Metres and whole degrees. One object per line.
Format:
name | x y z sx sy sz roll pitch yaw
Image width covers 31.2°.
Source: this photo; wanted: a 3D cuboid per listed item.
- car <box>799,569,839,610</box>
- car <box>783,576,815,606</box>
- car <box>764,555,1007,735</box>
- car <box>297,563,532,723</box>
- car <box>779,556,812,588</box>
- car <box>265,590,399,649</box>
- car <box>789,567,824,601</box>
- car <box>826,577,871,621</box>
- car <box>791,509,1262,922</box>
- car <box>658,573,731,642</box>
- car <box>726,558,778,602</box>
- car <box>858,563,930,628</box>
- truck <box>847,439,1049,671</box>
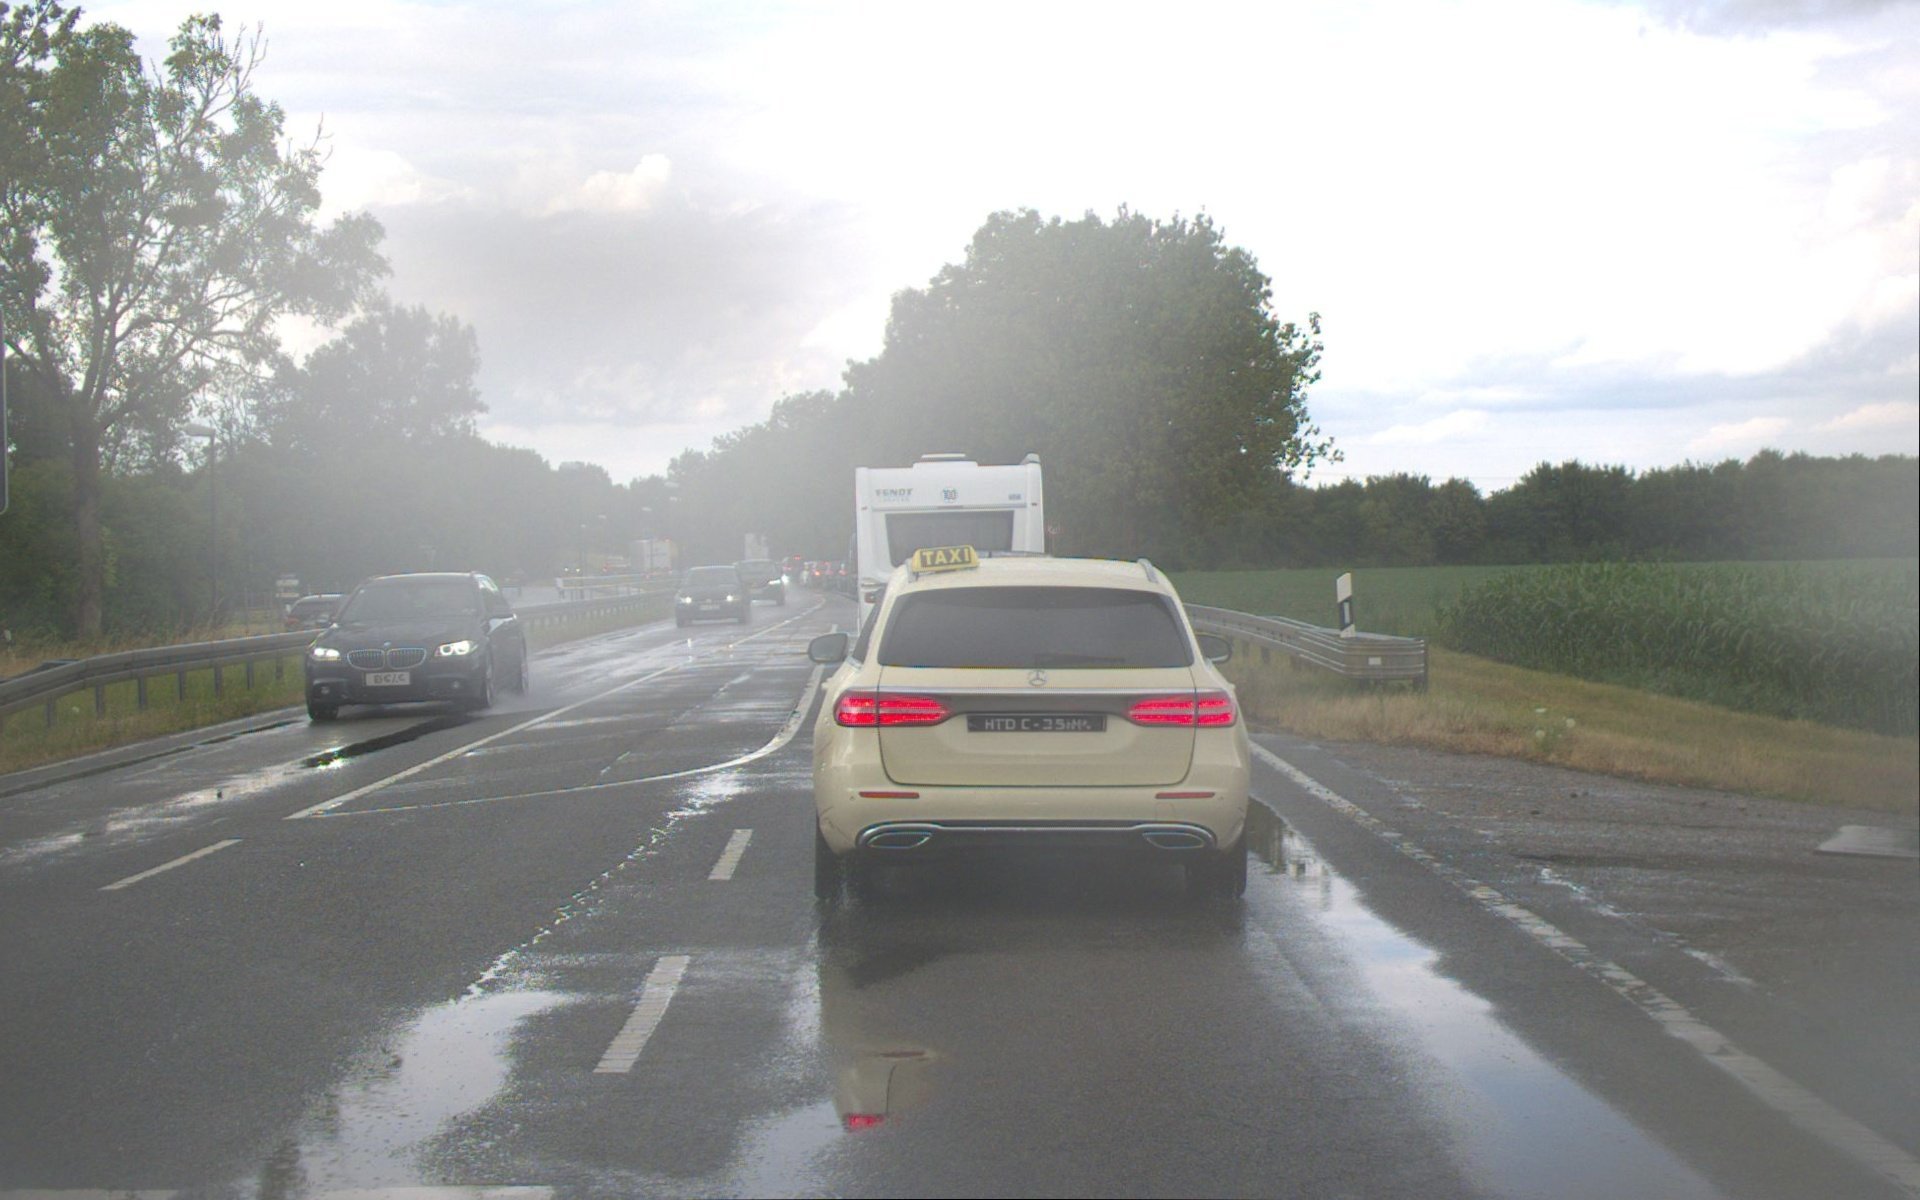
car | -7.049 -0.537 172.181 1.852 2.007 3.811 -1 1 -1
car | -9.312 -0.541 198.839 1.748 1.656 3.673 -3 0 -4
car | -0.641 0.363 30.707 1.993 1.457 4.000 1 0 -1
car | -5.700 0.412 36.343 1.828 1.568 4.000 1 0 0
car | -9.977 -1.713 207.940 1.895 1.888 3.844 -1 1 -4
car | -17.301 0.518 94.963 2.302 1.542 4.631 1 0 8
car | -8.455 -0.890 189.429 1.740 1.853 3.785 -1 1 -1
car | -4.712 -0.061 145.629 1.791 1.771 3.721 -1 1 -1
car | 0.240 0.431 15.508 1.842 1.612 4.000 0 1 -1
car | -6.575 0.169 85.266 1.580 1.634 3.442 -1 1 -1
car | -7.305 -0.717 121.013 1.607 1.487 3.785 -1 1 -1
car | -1.912 -0.148 100.128 1.915 1.834 3.795 -1 1 1
truck | -0.182 -0.588 44.734 2.363 2.719 7.314 -1 1 -1
